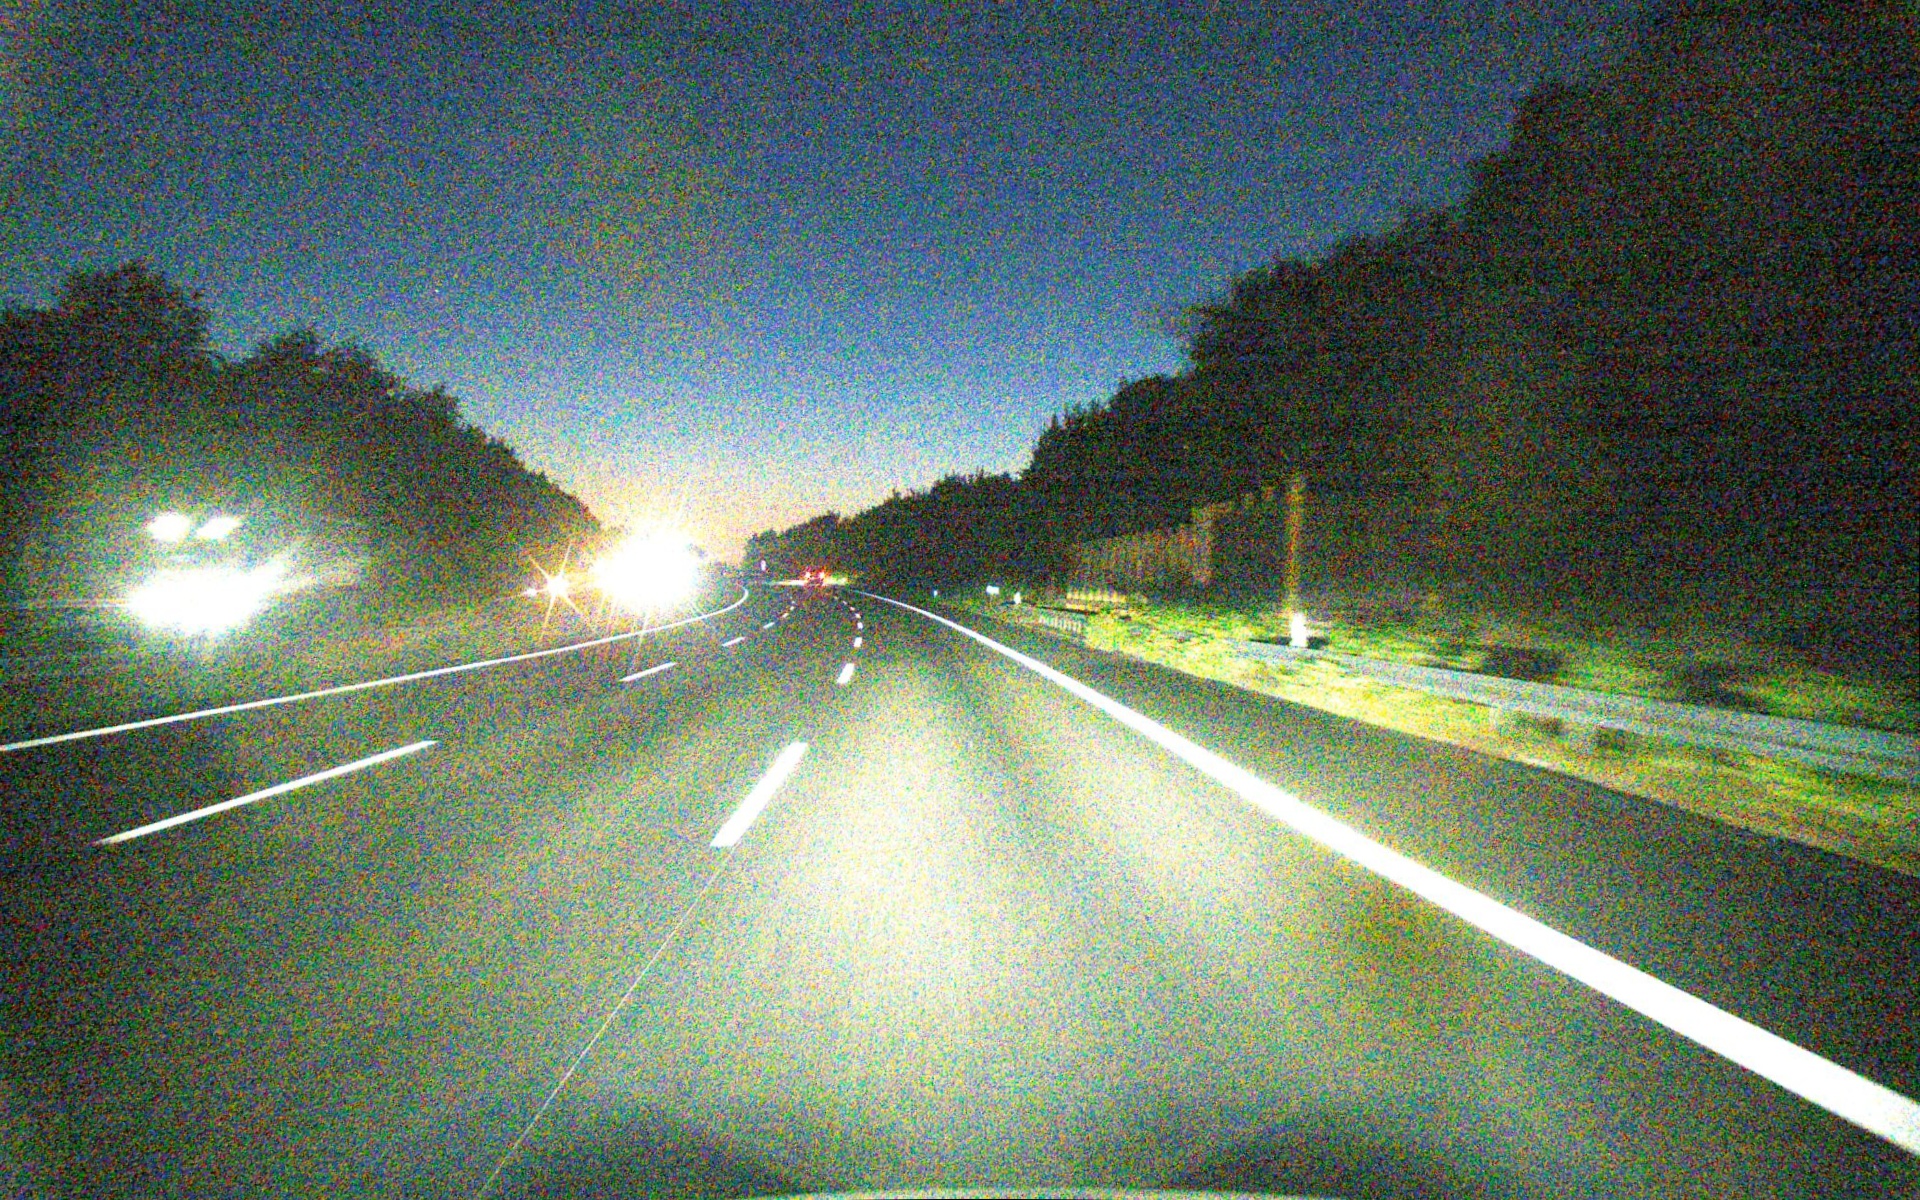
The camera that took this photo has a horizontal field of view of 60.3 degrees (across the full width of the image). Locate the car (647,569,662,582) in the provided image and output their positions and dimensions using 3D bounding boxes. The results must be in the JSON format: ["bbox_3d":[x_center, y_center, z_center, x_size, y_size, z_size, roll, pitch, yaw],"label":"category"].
[{"bbox_3d":[-44.475,-3.588,240.732,1.956,1.886,4.070,0,1,-8],"label":"car"}]

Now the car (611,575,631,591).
[{"bbox_3d":[-37.828,-1.955,184.569,1.956,1.756,4.070,0,1,-7],"label":"car"}]

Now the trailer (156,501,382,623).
[{"bbox_3d":[-25.998,-1.349,63.368,3.528,4.161,14.114,0,0,-4],"label":"trailer"}]

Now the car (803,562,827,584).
[{"bbox_3d":[-18.313,-3.438,208.758,2.482,2.597,6.037,3,0,-10],"label":"car"}]

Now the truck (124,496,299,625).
[{"bbox_3d":[-25.590,-1.314,56.907,3.518,4.171,5.990,0,0,-3],"label":"truck"}]
